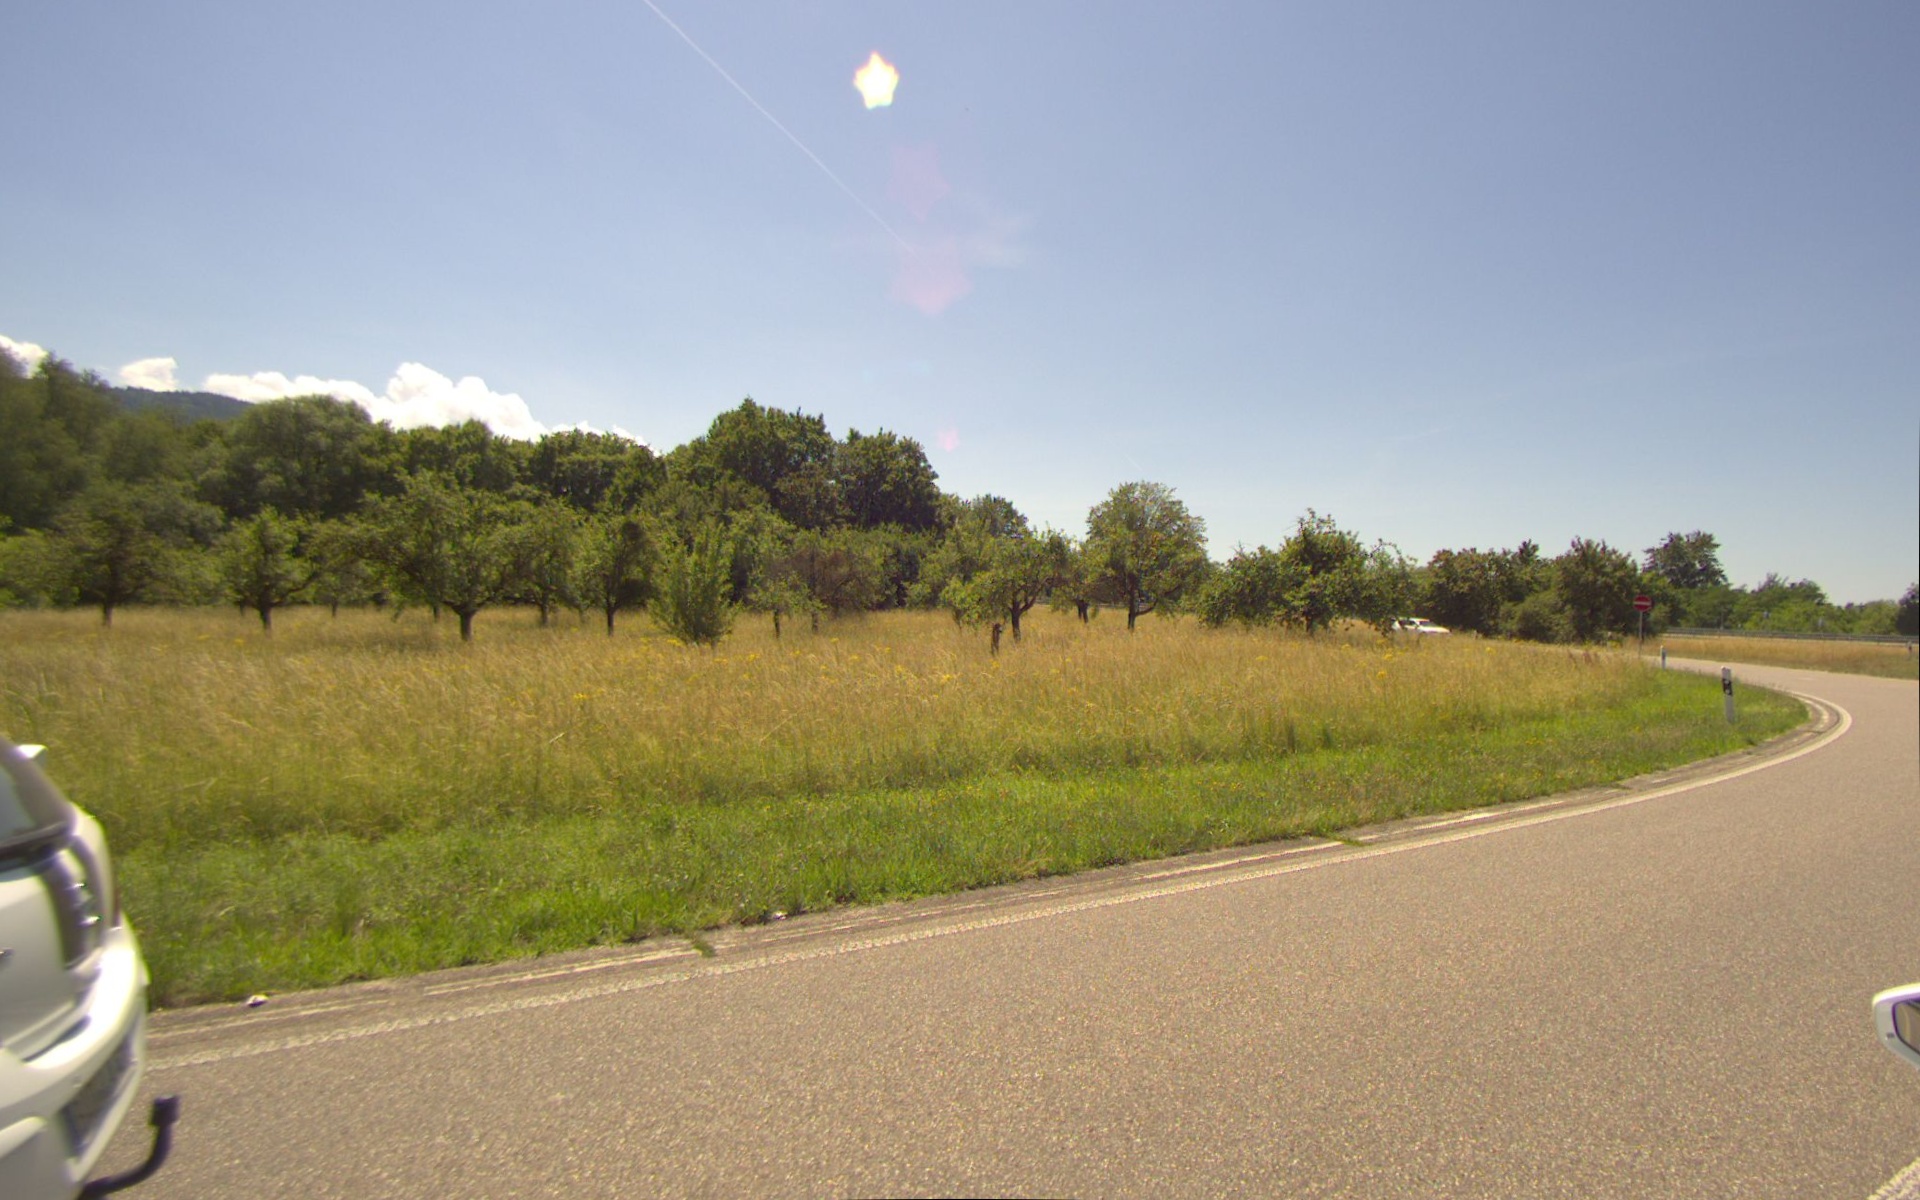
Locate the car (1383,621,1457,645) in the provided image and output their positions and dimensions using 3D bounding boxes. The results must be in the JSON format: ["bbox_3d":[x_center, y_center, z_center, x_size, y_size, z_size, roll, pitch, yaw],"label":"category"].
[{"bbox_3d":[29.154,2.079,63.784,1.825,1.443,4.127,0,-1,-22],"label":"car"}]

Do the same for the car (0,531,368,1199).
[{"bbox_3d":[-3.325,0.668,1.471,4.120,1.526,1.815,1,-3,-29],"label":"car"}]
